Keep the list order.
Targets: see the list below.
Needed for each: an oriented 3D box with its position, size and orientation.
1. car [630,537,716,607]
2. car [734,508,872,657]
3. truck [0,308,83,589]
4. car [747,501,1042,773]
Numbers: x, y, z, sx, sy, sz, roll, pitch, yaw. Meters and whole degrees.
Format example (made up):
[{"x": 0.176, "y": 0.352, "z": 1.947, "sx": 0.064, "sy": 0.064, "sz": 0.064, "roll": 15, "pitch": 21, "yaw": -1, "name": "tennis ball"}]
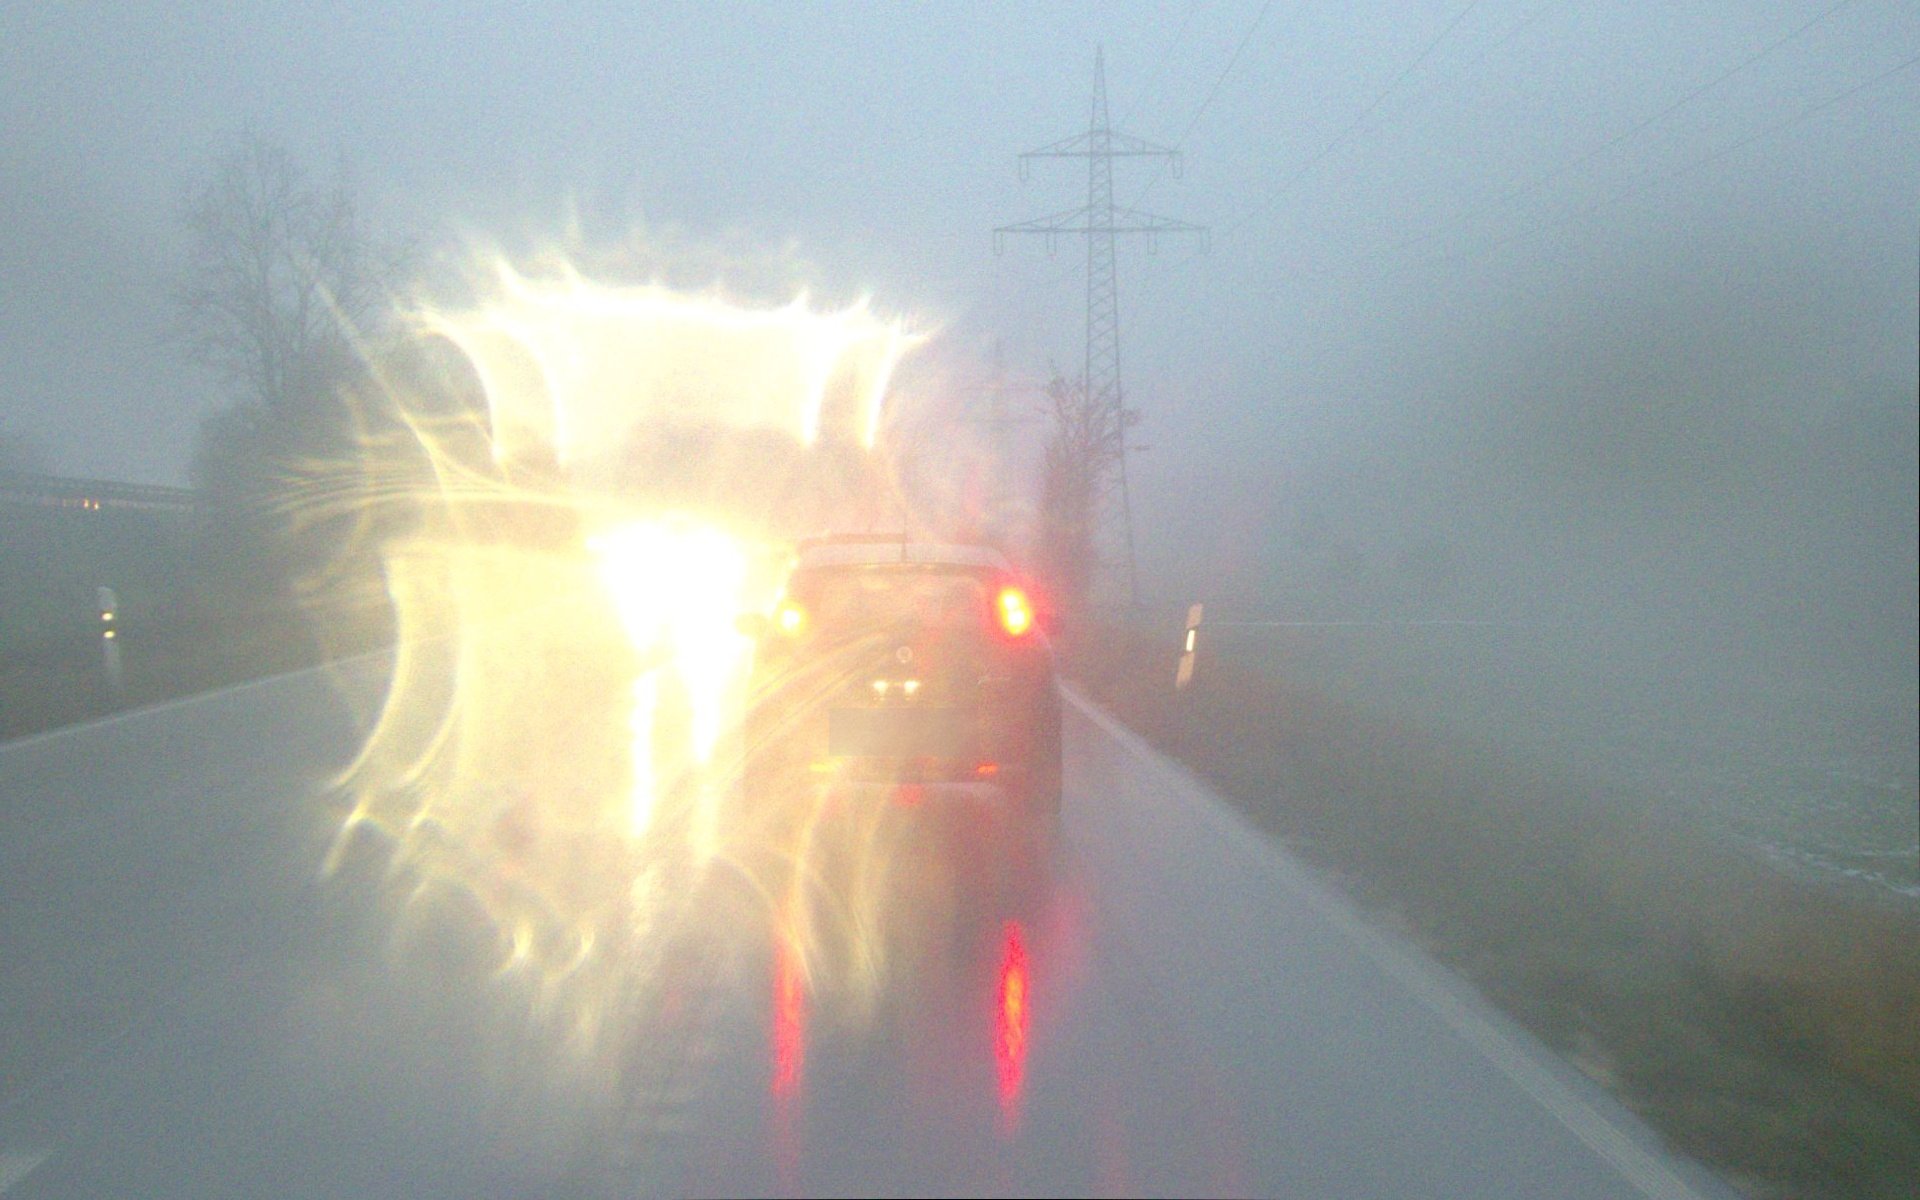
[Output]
[{"x": -6.873, "y": -0.688, "z": 82.621, "sx": 1.785, "sy": 1.585, "sz": 4.487, "roll": 1, "pitch": 1, "yaw": -2, "name": "car"}, {"x": -2.260, "y": -0.271, "z": 48.721, "sx": 1.852, "sy": 2.007, "sz": 4.001, "roll": 1, "pitch": 1, "yaw": -4, "name": "car"}, {"x": -30.063, "y": -4.016, "z": 82.698, "sx": 7.543, "sy": 7.686, "sz": 40.151, "roll": 1, "pitch": 1, "yaw": 0, "name": "truck"}, {"x": -0.436, "y": 0.168, "z": 19.363, "sx": 1.500, "sy": 1.393, "sz": 3.200, "roll": 1, "pitch": 1, "yaw": -4, "name": "car"}]
